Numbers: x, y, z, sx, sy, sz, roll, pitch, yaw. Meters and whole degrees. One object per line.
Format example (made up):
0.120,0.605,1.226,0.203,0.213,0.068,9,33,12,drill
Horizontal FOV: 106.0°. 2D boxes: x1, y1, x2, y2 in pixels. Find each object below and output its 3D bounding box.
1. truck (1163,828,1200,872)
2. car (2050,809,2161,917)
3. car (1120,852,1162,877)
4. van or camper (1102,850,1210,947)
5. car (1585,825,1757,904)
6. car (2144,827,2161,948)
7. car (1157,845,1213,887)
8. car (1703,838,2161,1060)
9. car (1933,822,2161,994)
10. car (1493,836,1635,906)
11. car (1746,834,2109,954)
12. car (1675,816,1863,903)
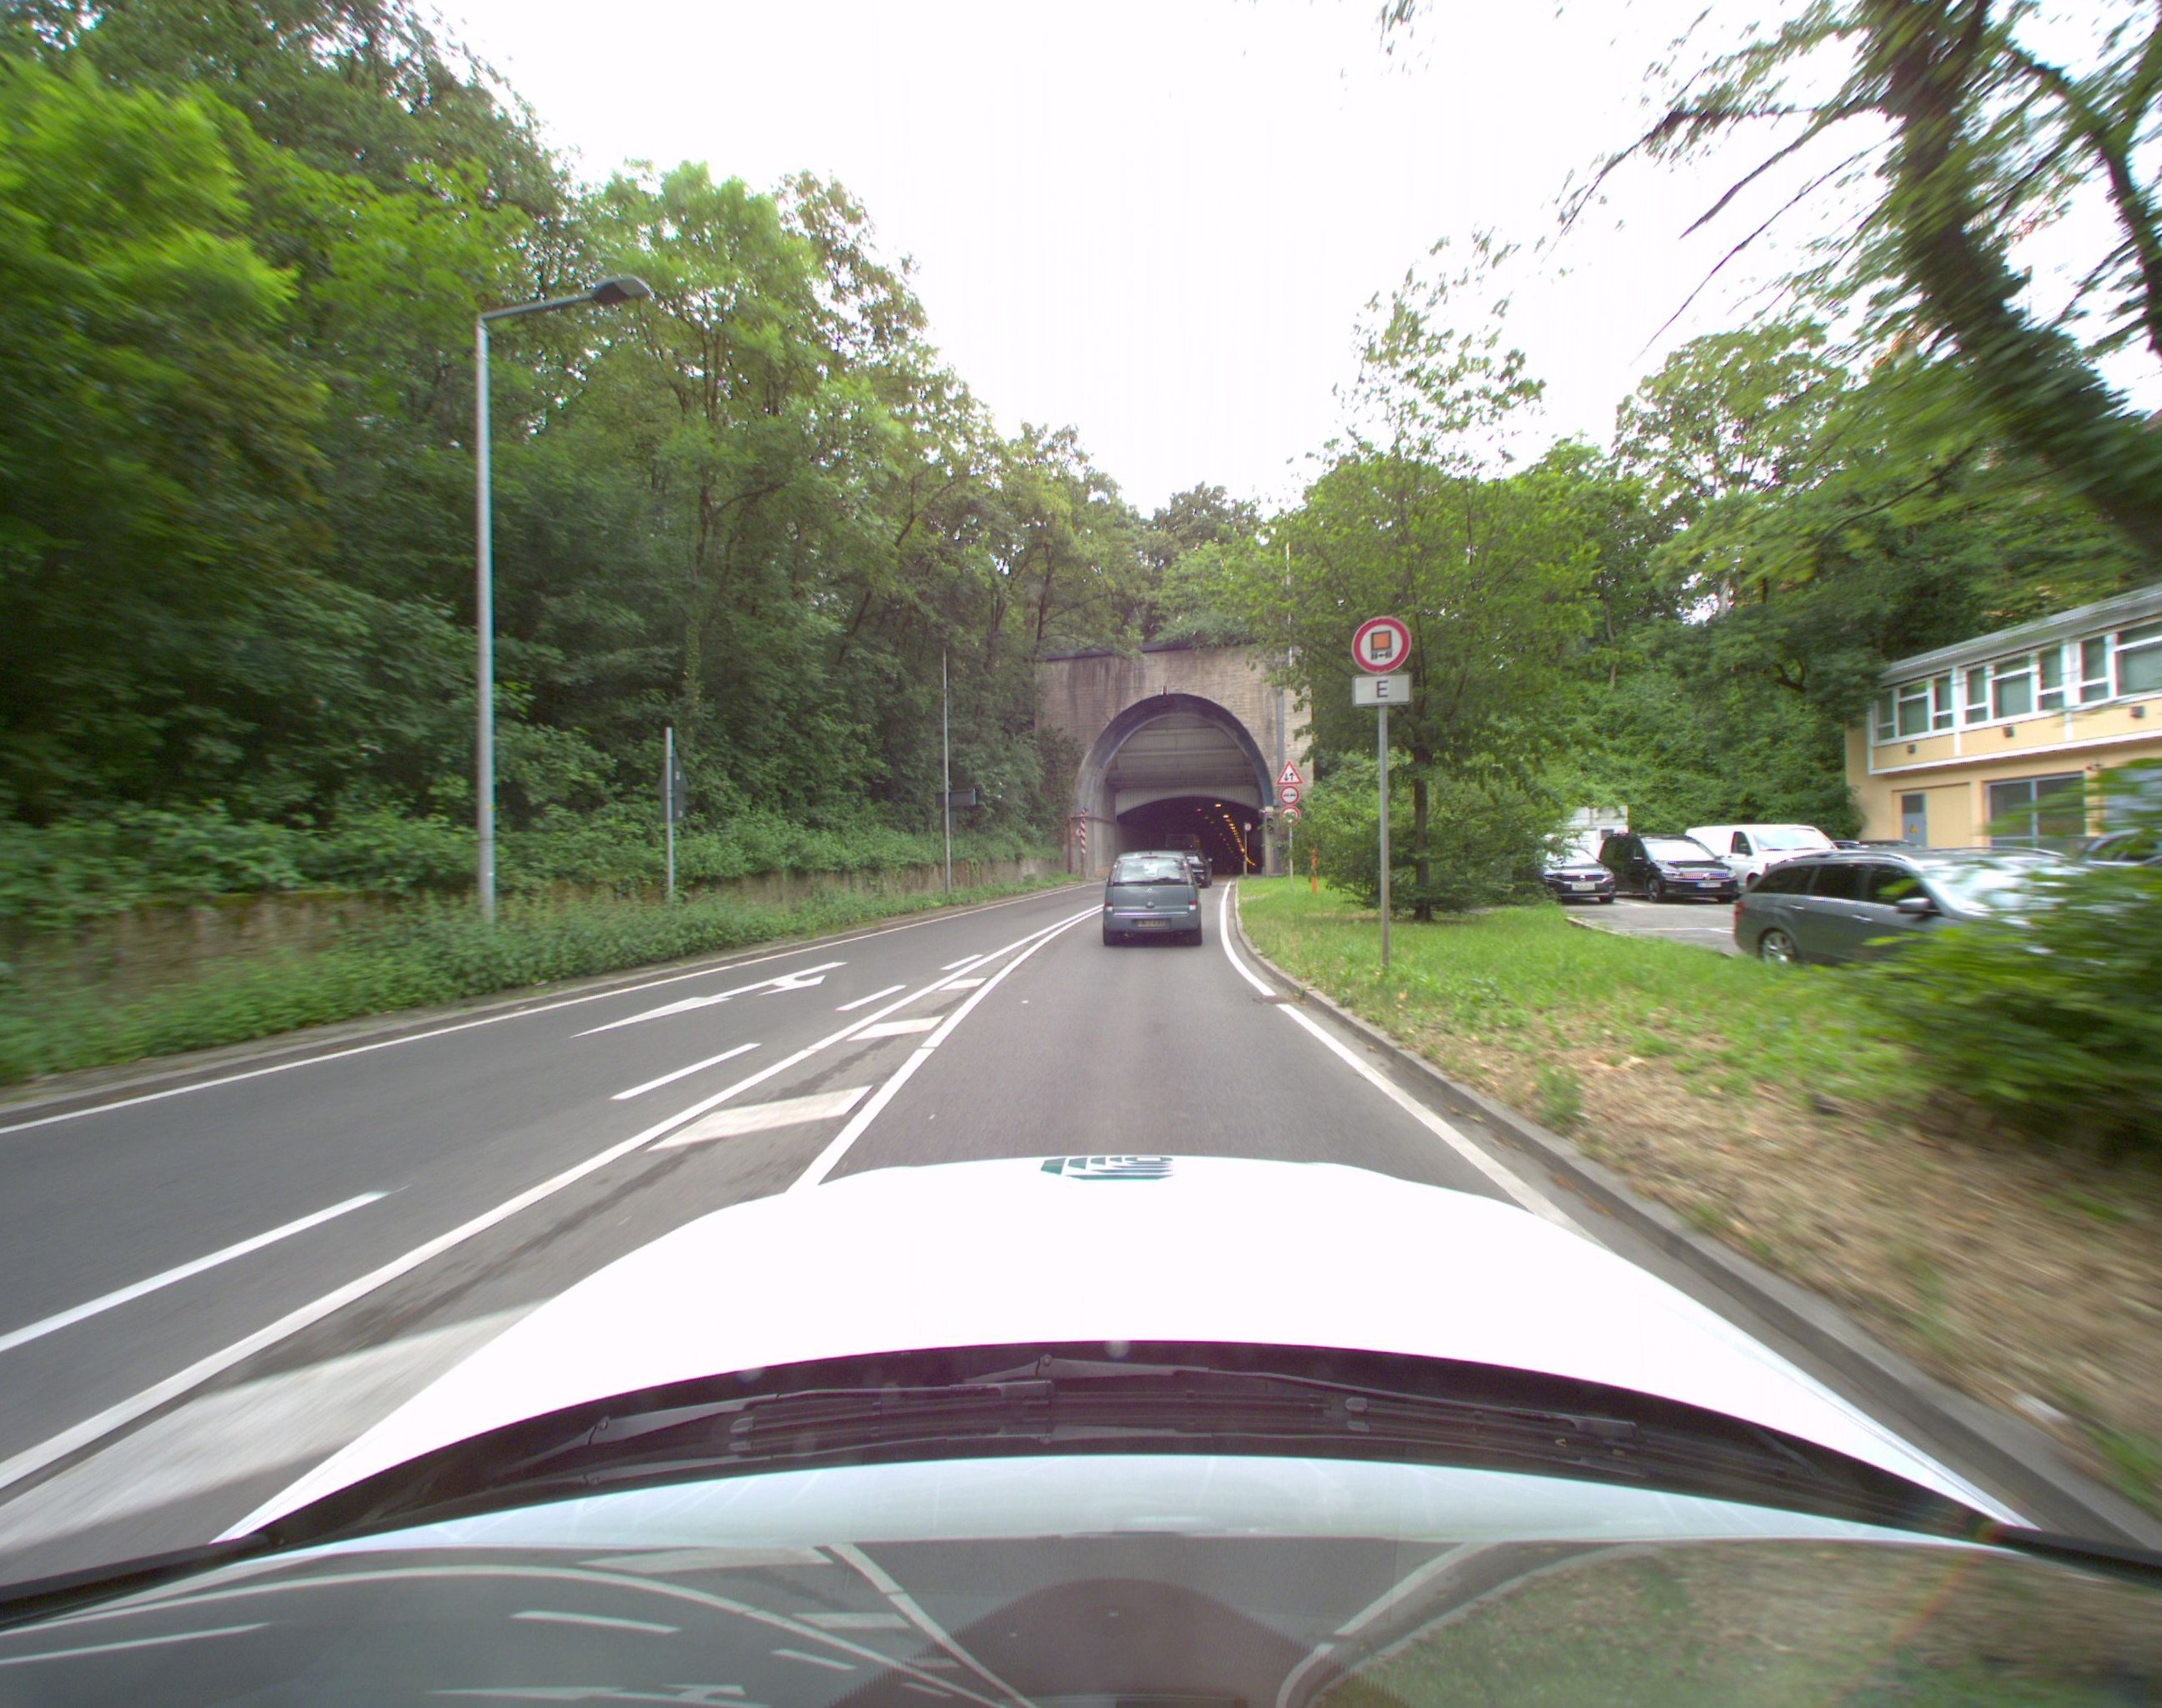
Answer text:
9.090,-0.326,73.037,2.658,3.667,7.541,-1,0,11,truck
16.263,0.159,11.248,1.792,1.441,4.025,-2,3,17,car
3.712,0.627,49.603,1.855,1.371,4.471,-2,0,12,car
1.259,0.709,14.998,1.729,1.578,3.647,0,0,1,van or camper
15.796,0.265,22.174,1.844,1.879,4.899,-1,-1,11,car
12.786,0.376,7.016,1.774,1.378,4.608,-2,0,11,car
4.715,0.511,36.464,1.979,1.653,4.015,-2,1,14,car
8.419,0.609,7.825,1.774,1.442,5.078,-2,0,11,car
10.813,0.474,7.473,1.774,1.558,4.608,-2,0,11,car
13.408,0.446,22.975,1.797,1.666,4.899,-4,-1,11,car
12.024,0.522,12.014,1.732,1.442,3.910,-2,-1,11,car
18.003,0.148,21.643,1.844,2.014,4.577,-1,-1,12,car
